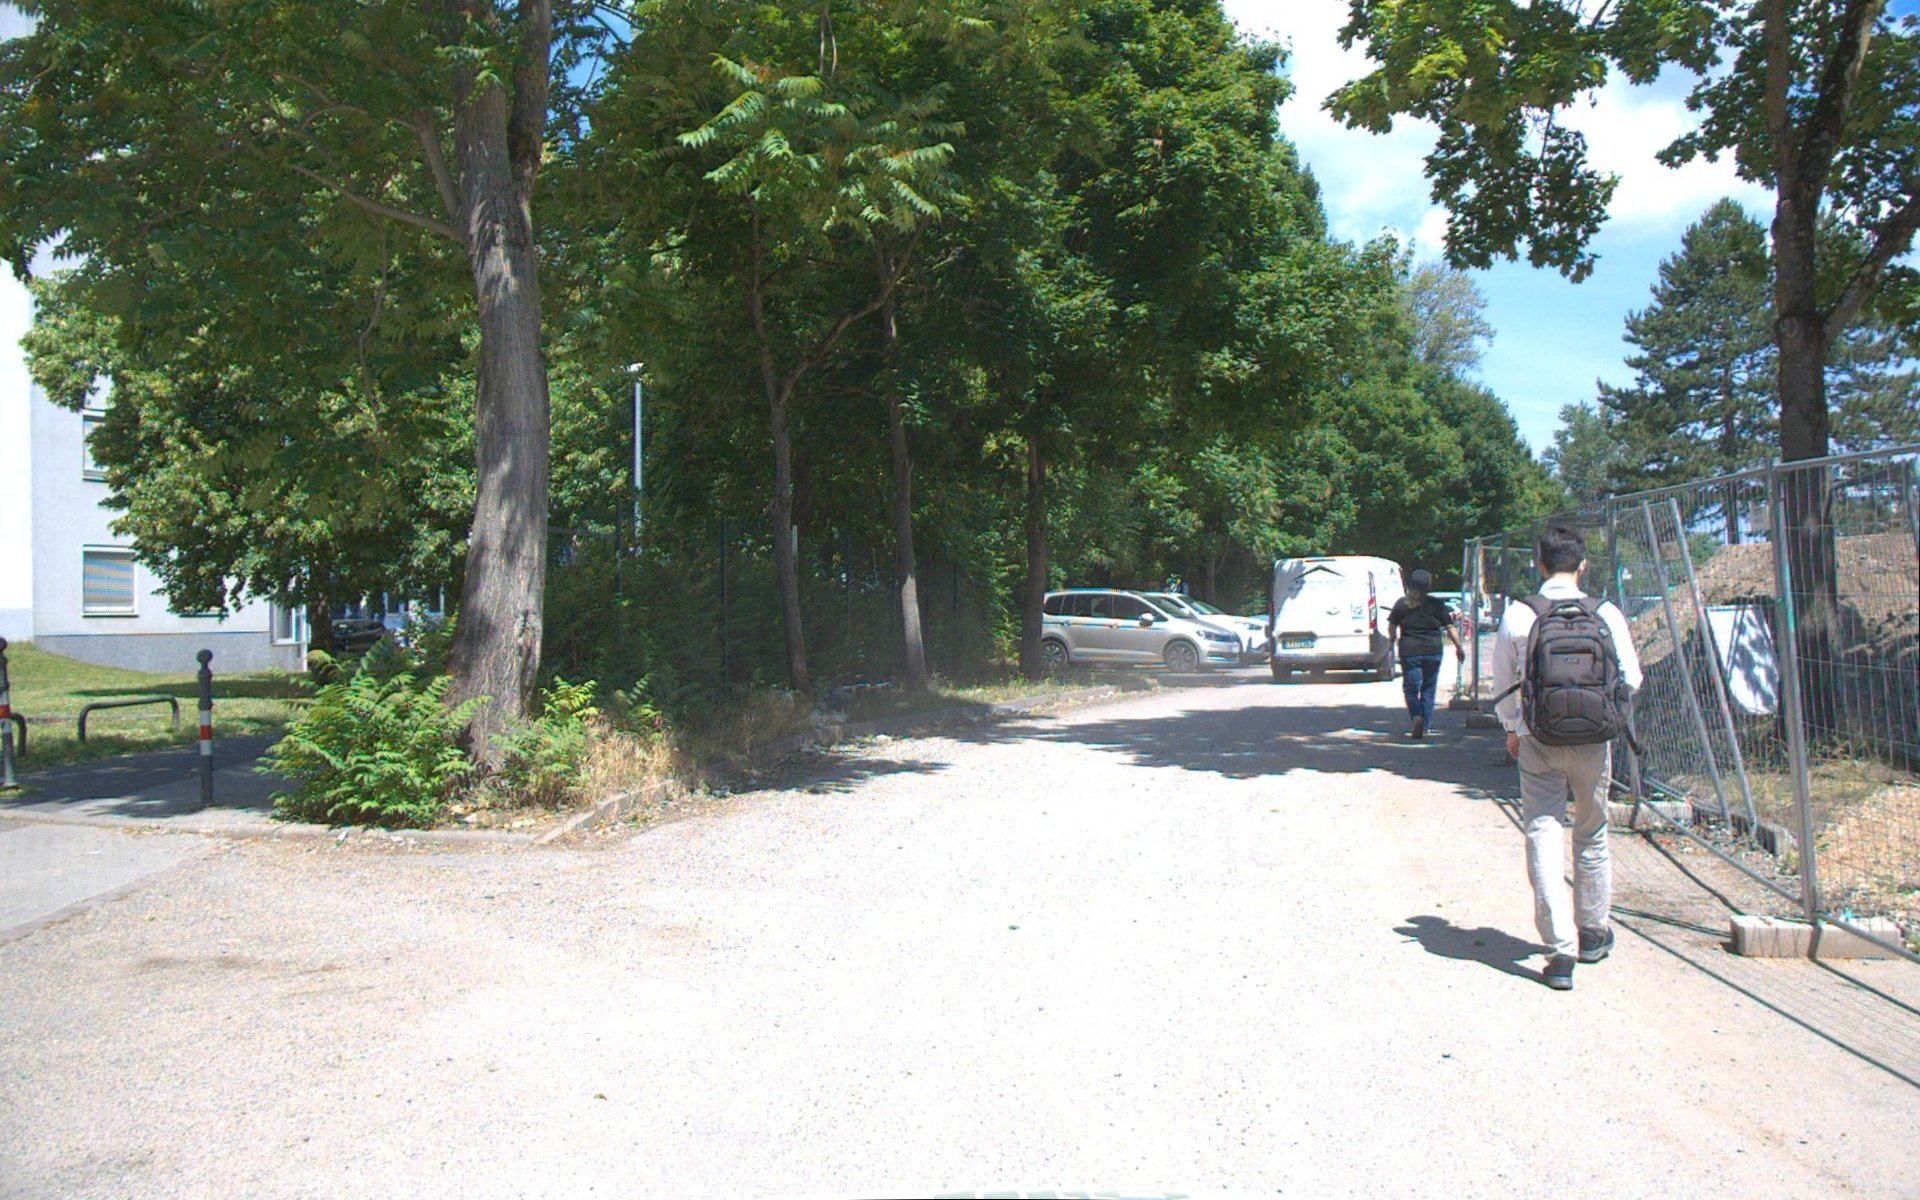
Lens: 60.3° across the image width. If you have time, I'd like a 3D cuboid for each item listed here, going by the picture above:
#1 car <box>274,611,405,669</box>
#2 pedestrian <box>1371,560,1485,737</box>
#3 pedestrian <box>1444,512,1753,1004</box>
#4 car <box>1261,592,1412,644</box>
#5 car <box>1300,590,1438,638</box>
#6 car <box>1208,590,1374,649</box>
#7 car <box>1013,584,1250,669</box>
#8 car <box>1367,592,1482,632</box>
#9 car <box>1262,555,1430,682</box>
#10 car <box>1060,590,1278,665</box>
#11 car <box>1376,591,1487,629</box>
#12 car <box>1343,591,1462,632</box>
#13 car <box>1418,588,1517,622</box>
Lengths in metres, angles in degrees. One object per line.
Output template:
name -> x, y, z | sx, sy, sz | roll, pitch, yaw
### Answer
car -> -18.627, 1.164, 49.802 | 1.634, 1.649, 3.627 | -1, 0, 24
pedestrian -> 4.602, 0.459, 16.343 | 1.013, 1.679, 1.050 | -1, 0, 12
pedestrian -> 2.449, 0.561, 6.483 | 0.855, 1.759, 1.081 | -1, 0, 5
car -> 12.009, 0.560, 52.790 | 4.415, 1.626, 1.935 | 0, 0, 25
car -> 14.186, 0.474, 57.402 | 4.415, 1.625, 1.725 | 0, 1, 24
car -> 9.512, 0.544, 47.564 | 4.415, 1.625, 1.725 | 0, 1, 24
car -> 3.493, 0.560, 33.685 | 4.416, 1.637, 1.998 | 0, -2, 25
car -> 19.364, 0.485, 68.985 | 4.415, 1.625, 1.725 | 0, 1, 24
car -> 6.672, 0.283, 28.242 | 1.933, 1.981, 4.578 | -1, 0, 24
car -> 4.546, 0.571, 35.989 | 4.415, 1.558, 1.725 | 0, 0, 24
car -> 20.316, 0.445, 71.250 | 4.415, 1.574, 1.725 | 0, 1, 24
car -> 17.842, 0.449, 66.688 | 4.415, 1.626, 1.725 | 0, 0, 24
car -> 24.664, 0.241, 80.431 | 4.415, 1.625, 1.725 | -1, 0, 24
